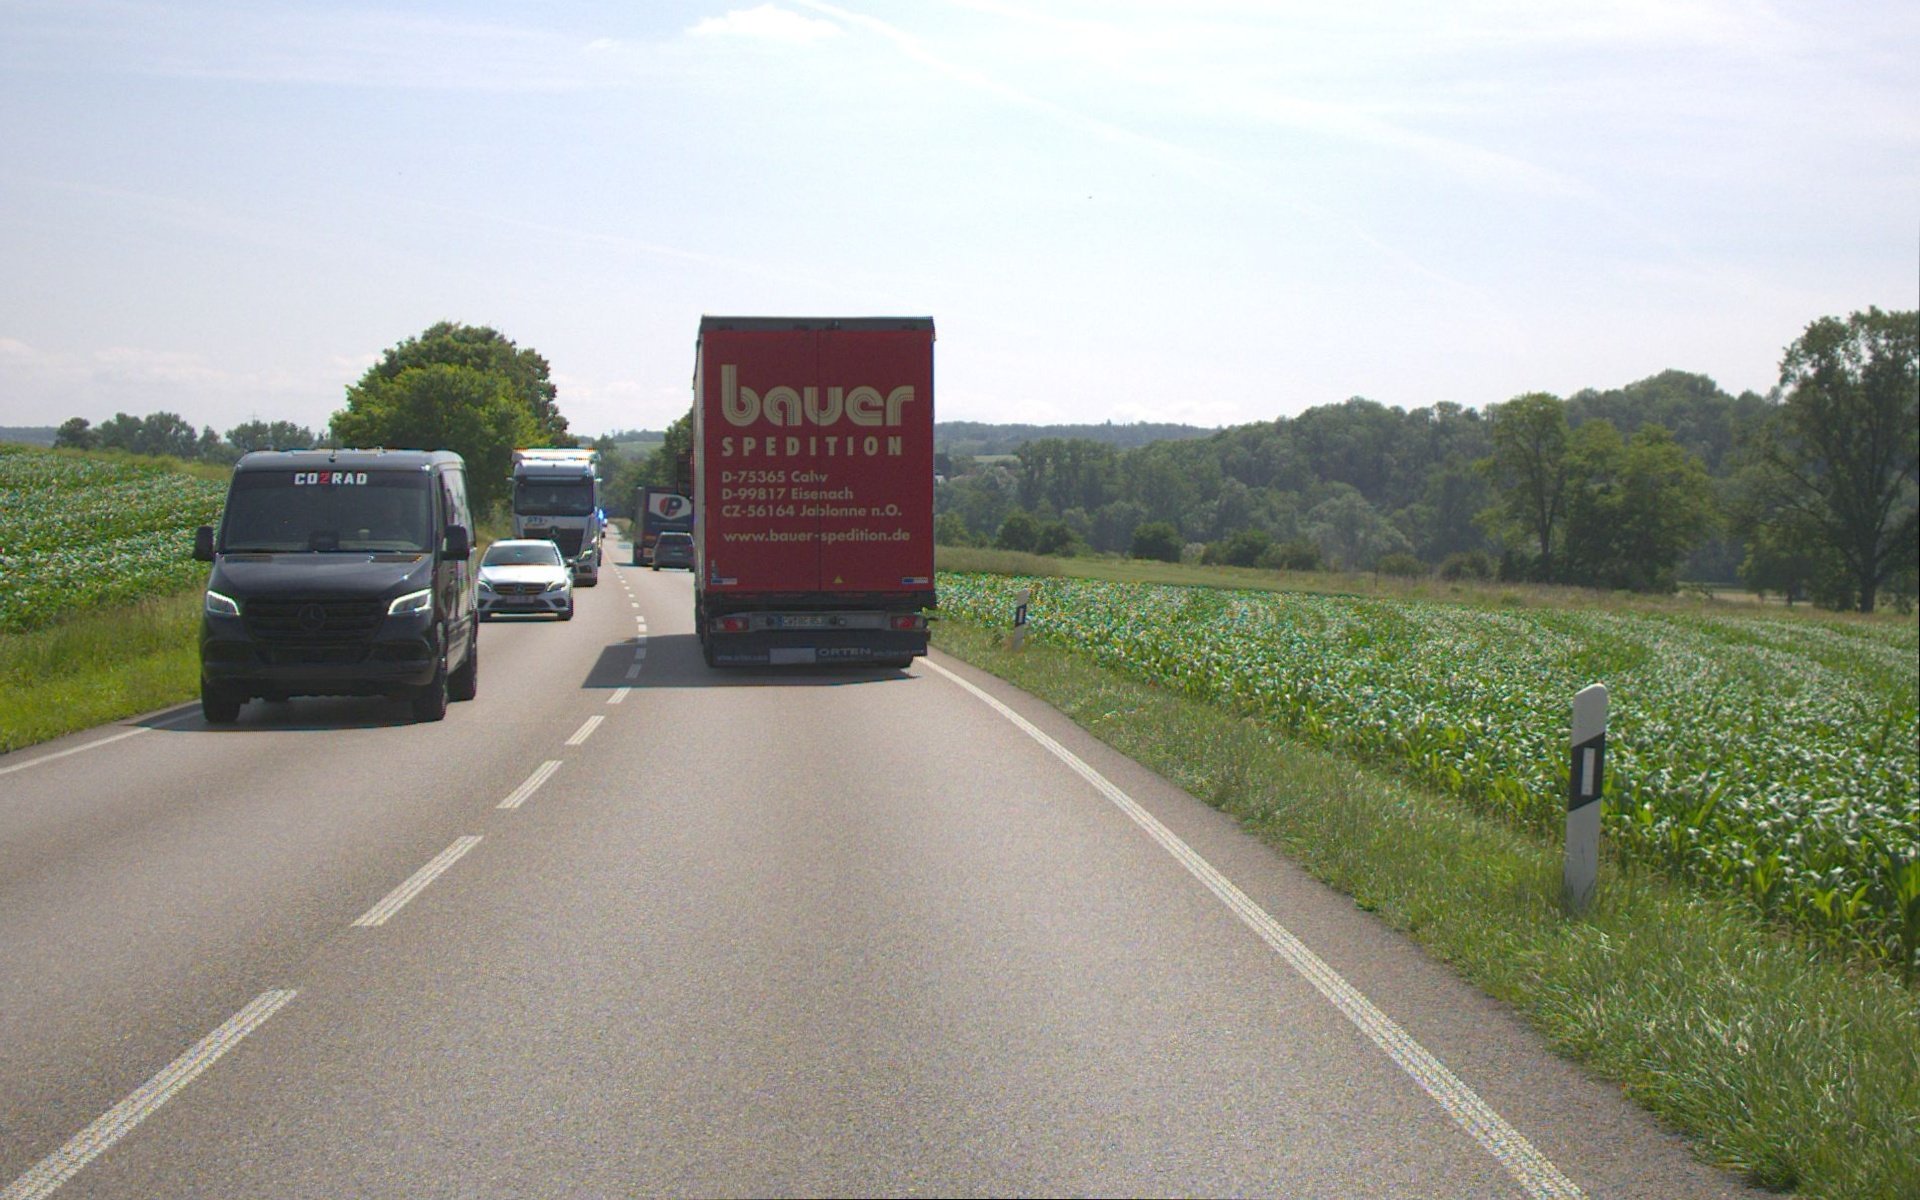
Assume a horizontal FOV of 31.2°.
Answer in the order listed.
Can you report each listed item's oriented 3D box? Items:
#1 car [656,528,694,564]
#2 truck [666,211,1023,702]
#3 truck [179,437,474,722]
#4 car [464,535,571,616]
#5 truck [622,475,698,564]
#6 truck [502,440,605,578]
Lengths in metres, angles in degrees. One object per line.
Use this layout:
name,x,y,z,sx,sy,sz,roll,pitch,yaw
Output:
car,-12.115,-2.308,146.410,1.581,1.496,3.877,0,1,-4
truck,-1.314,-1.281,34.041,3.094,4.248,8.315,0,0,-4
truck,-5.528,-0.212,30.612,2.009,2.312,5.193,0,1,-4
car,-8.099,-0.470,63.200,1.728,1.435,4.177,0,1,-4
truck,-15.099,-4.005,174.001,3.640,4.277,11.987,0,0,-4
truck,-12.636,-2.811,107.897,2.826,3.979,16.536,-1,1,-6
